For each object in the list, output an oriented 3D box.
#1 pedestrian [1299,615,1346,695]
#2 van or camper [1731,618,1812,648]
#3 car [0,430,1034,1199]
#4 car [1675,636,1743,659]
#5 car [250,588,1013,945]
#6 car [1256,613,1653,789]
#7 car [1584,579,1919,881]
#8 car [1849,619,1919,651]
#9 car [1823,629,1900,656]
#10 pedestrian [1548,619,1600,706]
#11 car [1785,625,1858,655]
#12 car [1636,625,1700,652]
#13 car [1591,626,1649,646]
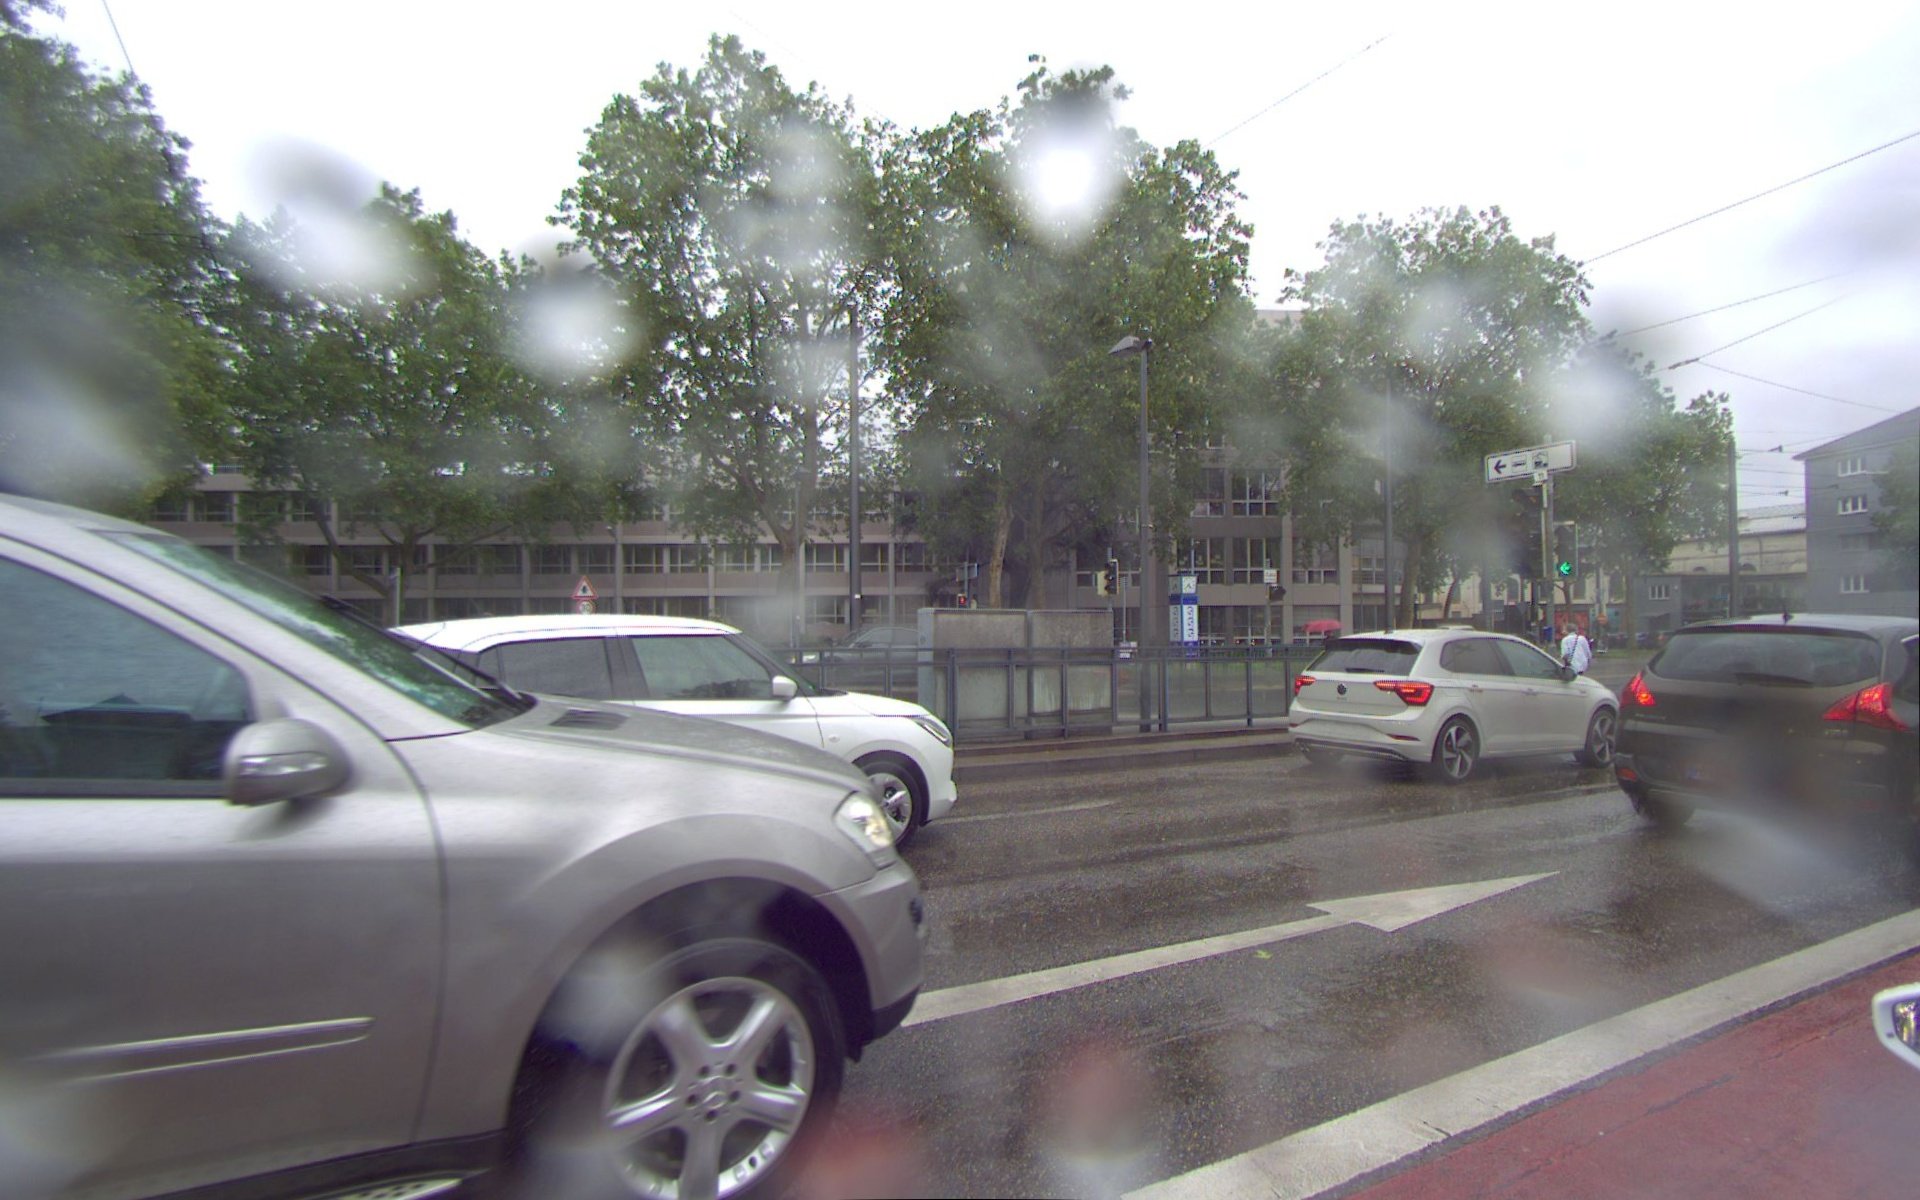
[{"bbox_3d":[7.982,1.192,22.130,0.932,1.734,0.830,-1,-1,22],"label":"pedestrian"},{"bbox_3d":[59.584,2.383,73.771,4.568,2.102,1.998,1,-1,-7],"label":"van or camper"},{"bbox_3d":[-2.241,0.553,2.409,4.627,1.668,1.898,0,0,-32],"label":"car"},{"bbox_3d":[58.935,3.714,79.037,3.924,1.635,1.999,2,-1,-5],"label":"car"},{"bbox_3d":[-1.844,0.766,6.281,4.022,1.608,1.794,0,-1,-28],"label":"car"},{"bbox_3d":[5.339,0.933,10.751,4.140,1.557,1.799,0,-1,-29],"label":"car"},{"bbox_3d":[6.787,0.750,7.571,4.140,1.732,1.794,0,0,-29],"label":"car"},{"bbox_3d":[61.279,2.272,65.795,4.310,2.040,2.068,0,0,0],"label":"car"},{"bbox_3d":[61.660,2.916,68.761,3.930,1.647,1.952,2,0,-11],"label":"car"},{"bbox_3d":[11.825,1.192,19.368,0.721,1.631,0.717,-1,-1,22],"label":"pedestrian"},{"bbox_3d":[60.955,2.800,71.064,3.931,2.040,1.995,0,-1,-13],"label":"car"},{"bbox_3d":[58.811,3.204,83.476,3.921,2.040,2.000,2,0,0],"label":"car"},{"bbox_3d":[59.200,3.216,90.148,3.921,1.787,2.000,-1,-1,0],"label":"car"}]
